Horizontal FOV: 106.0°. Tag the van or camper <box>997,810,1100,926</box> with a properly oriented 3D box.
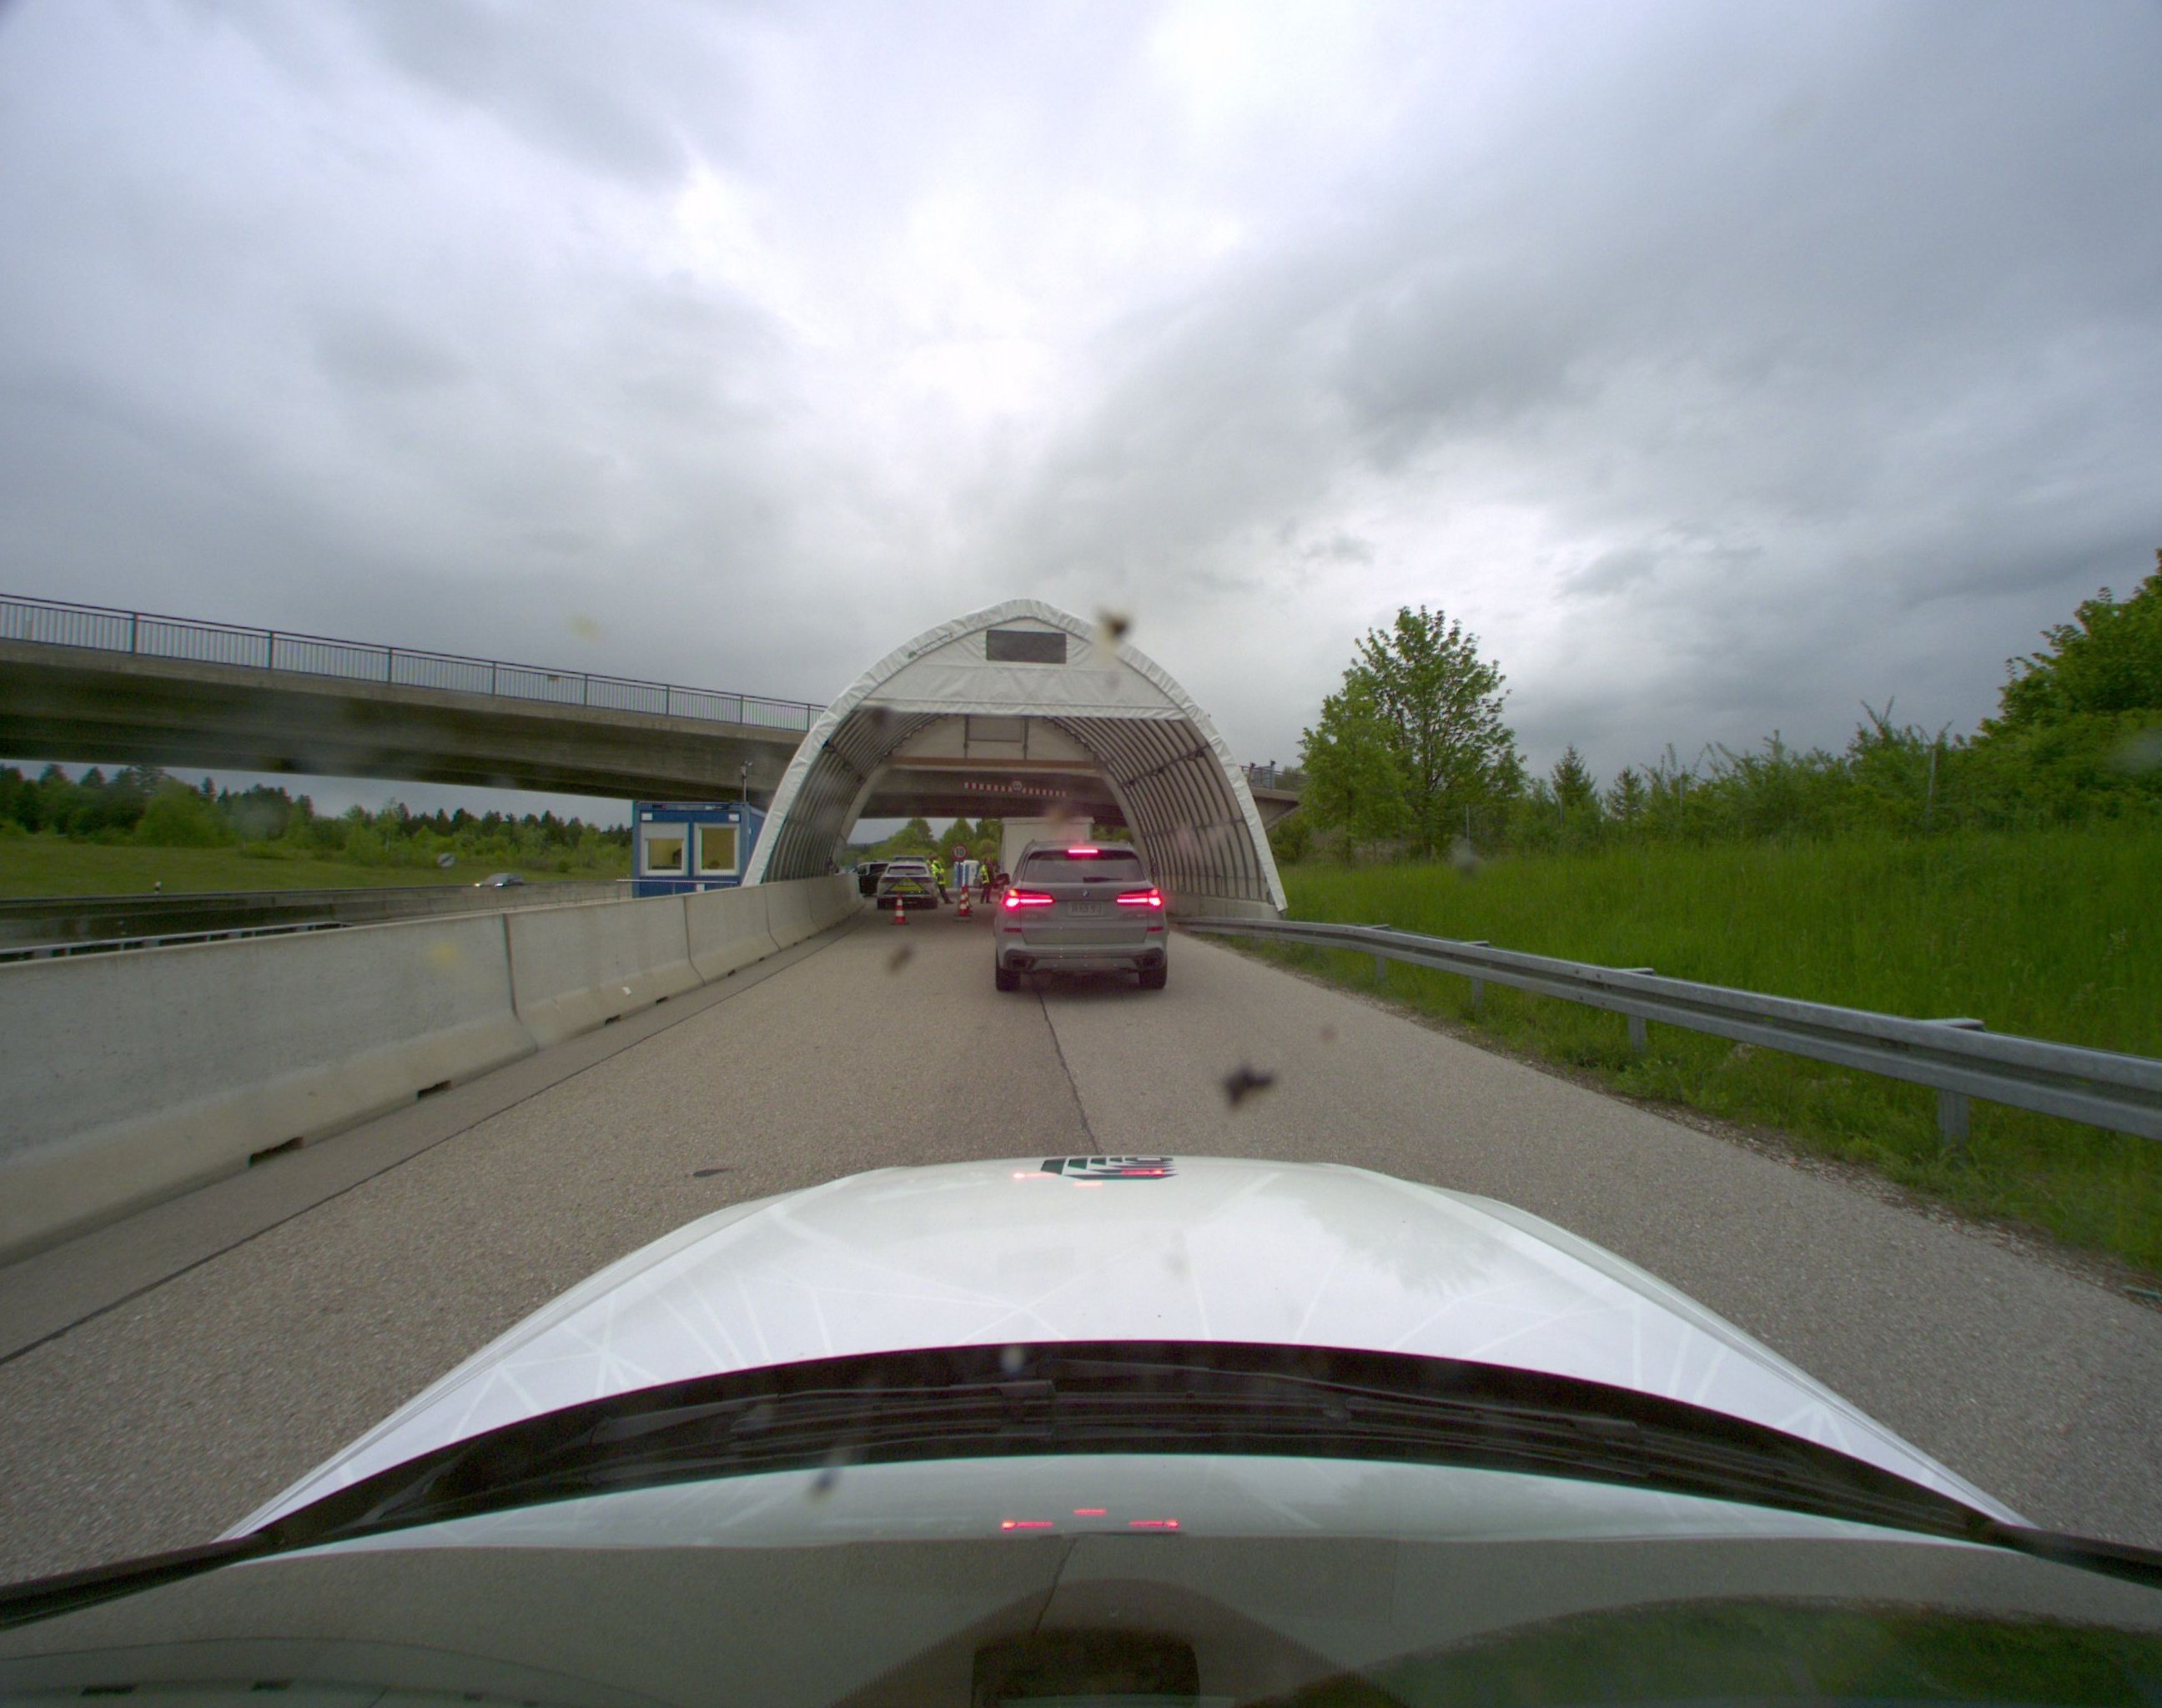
[{"bbox_3d":[-1.058,0.342,21.579,2.227,2.552,6.595,-1,-1,-6],"label":"van or camper"}]

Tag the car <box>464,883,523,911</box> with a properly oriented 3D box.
[{"bbox_3d":[-46.358,3.333,64.423,1.987,1.955,5.084,-1,-1,-14],"label":"car"}]

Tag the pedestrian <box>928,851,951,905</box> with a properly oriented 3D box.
[{"bbox_3d":[-5.084,0.852,29.204,0.750,1.919,0.759,-1,-1,-13],"label":"pedestrian"}]

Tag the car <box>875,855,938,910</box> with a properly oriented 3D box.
[{"bbox_3d":[-5.779,0.899,27.033,1.879,1.647,3.983,-1,-1,-12],"label":"car"}]

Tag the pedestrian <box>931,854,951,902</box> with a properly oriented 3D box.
[{"bbox_3d":[-5.209,0.870,30.316,0.607,1.754,0.665,-1,-1,-4],"label":"pedestrian"}]

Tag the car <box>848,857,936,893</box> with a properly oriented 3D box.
[{"bbox_3d":[-11.460,1.265,49.480,4.777,2.014,1.845,-1,-1,9],"label":"car"}]

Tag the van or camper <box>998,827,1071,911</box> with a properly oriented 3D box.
[{"bbox_3d":[-1.693,0.477,27.673,2.102,2.519,5.537,-1,-1,-7],"label":"van or camper"}]

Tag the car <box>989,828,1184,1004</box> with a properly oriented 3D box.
[{"bbox_3d":[-0.153,0.660,10.480,1.992,1.765,3.990,-1,-1,-7],"label":"car"}]

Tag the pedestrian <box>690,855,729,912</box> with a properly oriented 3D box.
[{"bbox_3d":[-9.248,0.723,20.309,0.606,1.373,0.629,-2,-1,10],"label":"pedestrian"}]

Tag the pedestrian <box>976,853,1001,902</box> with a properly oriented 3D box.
[{"bbox_3d":[-3.332,0.831,29.376,0.756,1.722,0.778,-1,-1,-16],"label":"pedestrian"}]

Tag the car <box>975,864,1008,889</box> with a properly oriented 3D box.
[{"bbox_3d":[-6.488,1.604,58.711,1.994,1.722,3.882,-1,-1,-11],"label":"car"}]
